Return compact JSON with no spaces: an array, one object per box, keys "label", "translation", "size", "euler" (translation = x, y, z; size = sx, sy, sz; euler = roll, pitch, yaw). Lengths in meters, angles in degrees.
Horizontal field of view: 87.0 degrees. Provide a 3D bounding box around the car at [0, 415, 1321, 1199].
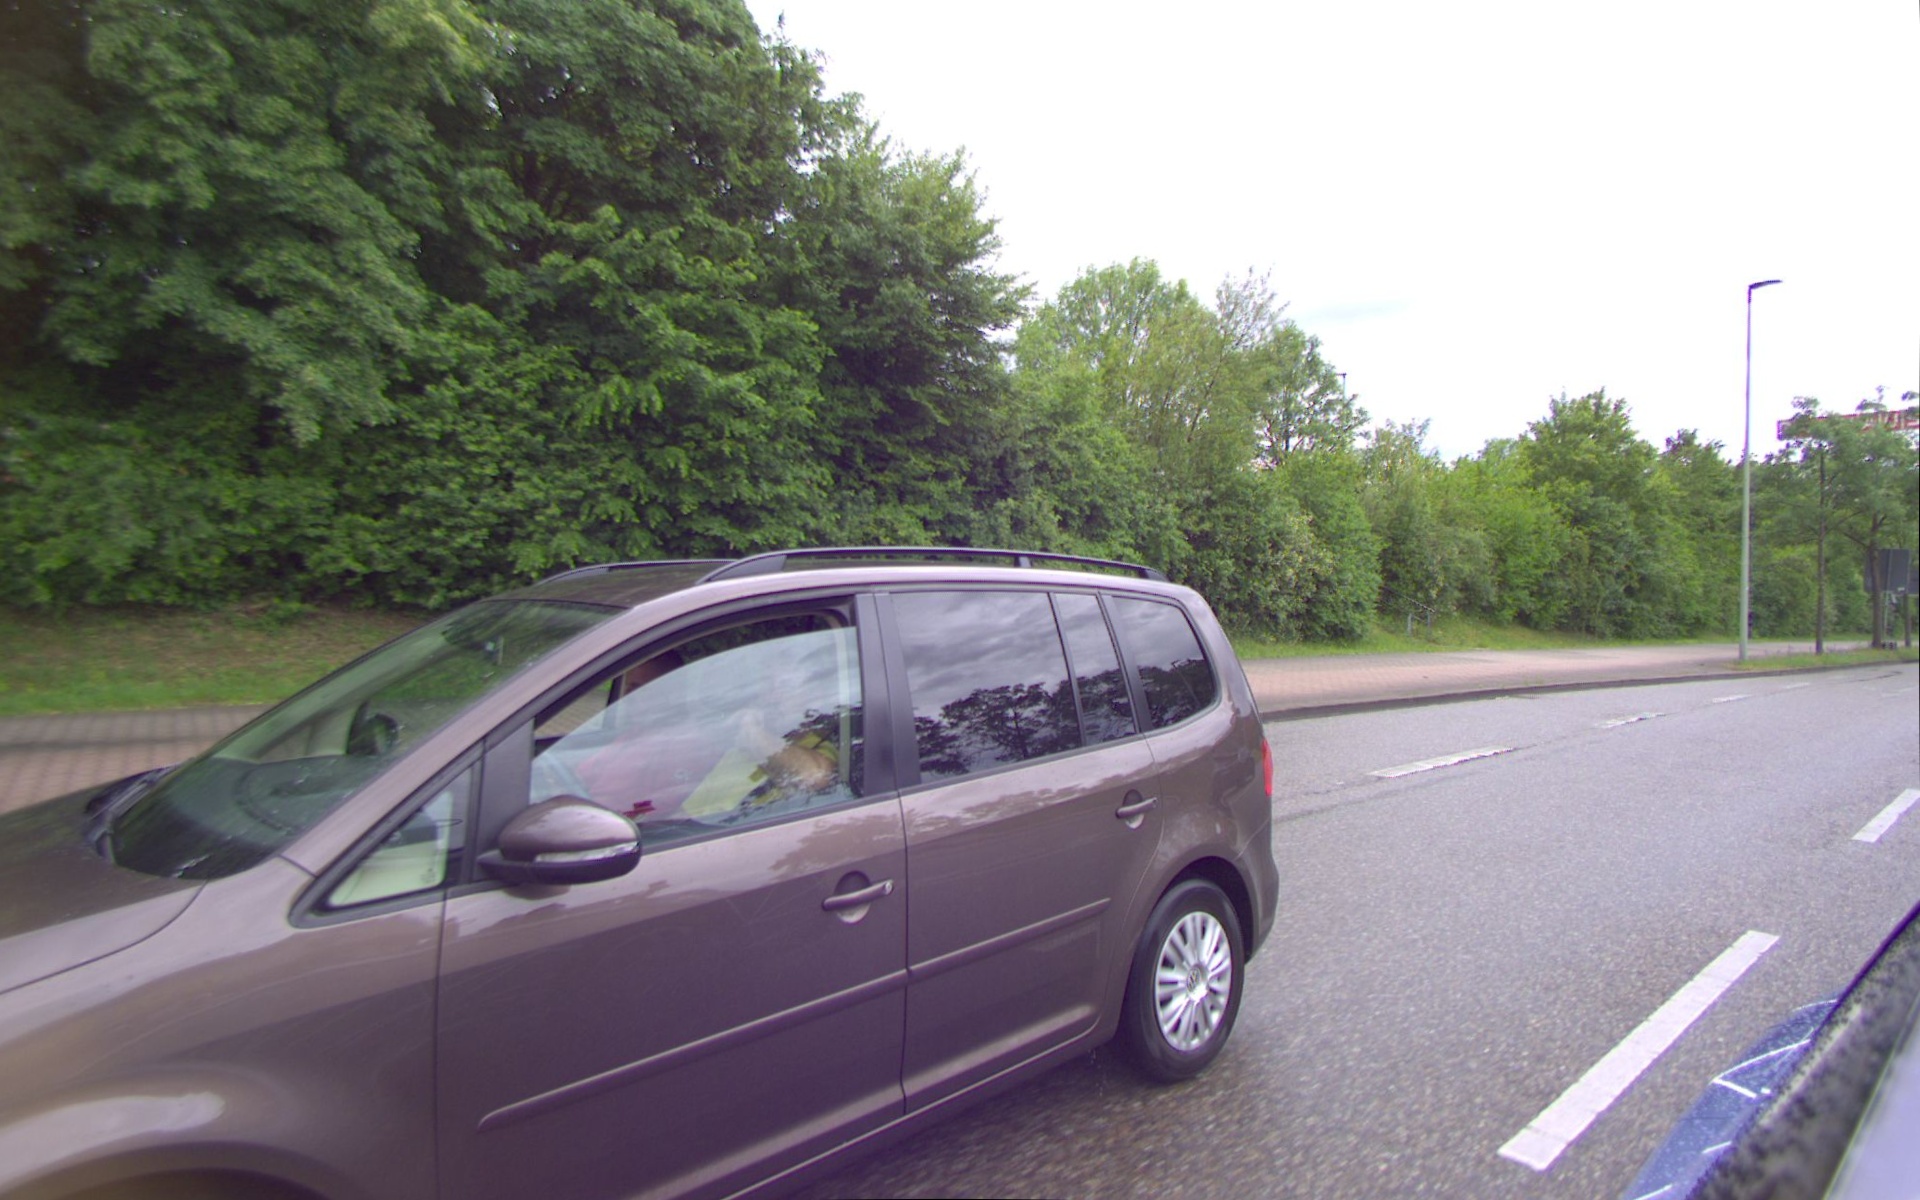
[{"label":"car","translation":[-0.788,0.579,2.878],"size":[4.060,1.617,1.716],"euler":[1,0,-43]}]
